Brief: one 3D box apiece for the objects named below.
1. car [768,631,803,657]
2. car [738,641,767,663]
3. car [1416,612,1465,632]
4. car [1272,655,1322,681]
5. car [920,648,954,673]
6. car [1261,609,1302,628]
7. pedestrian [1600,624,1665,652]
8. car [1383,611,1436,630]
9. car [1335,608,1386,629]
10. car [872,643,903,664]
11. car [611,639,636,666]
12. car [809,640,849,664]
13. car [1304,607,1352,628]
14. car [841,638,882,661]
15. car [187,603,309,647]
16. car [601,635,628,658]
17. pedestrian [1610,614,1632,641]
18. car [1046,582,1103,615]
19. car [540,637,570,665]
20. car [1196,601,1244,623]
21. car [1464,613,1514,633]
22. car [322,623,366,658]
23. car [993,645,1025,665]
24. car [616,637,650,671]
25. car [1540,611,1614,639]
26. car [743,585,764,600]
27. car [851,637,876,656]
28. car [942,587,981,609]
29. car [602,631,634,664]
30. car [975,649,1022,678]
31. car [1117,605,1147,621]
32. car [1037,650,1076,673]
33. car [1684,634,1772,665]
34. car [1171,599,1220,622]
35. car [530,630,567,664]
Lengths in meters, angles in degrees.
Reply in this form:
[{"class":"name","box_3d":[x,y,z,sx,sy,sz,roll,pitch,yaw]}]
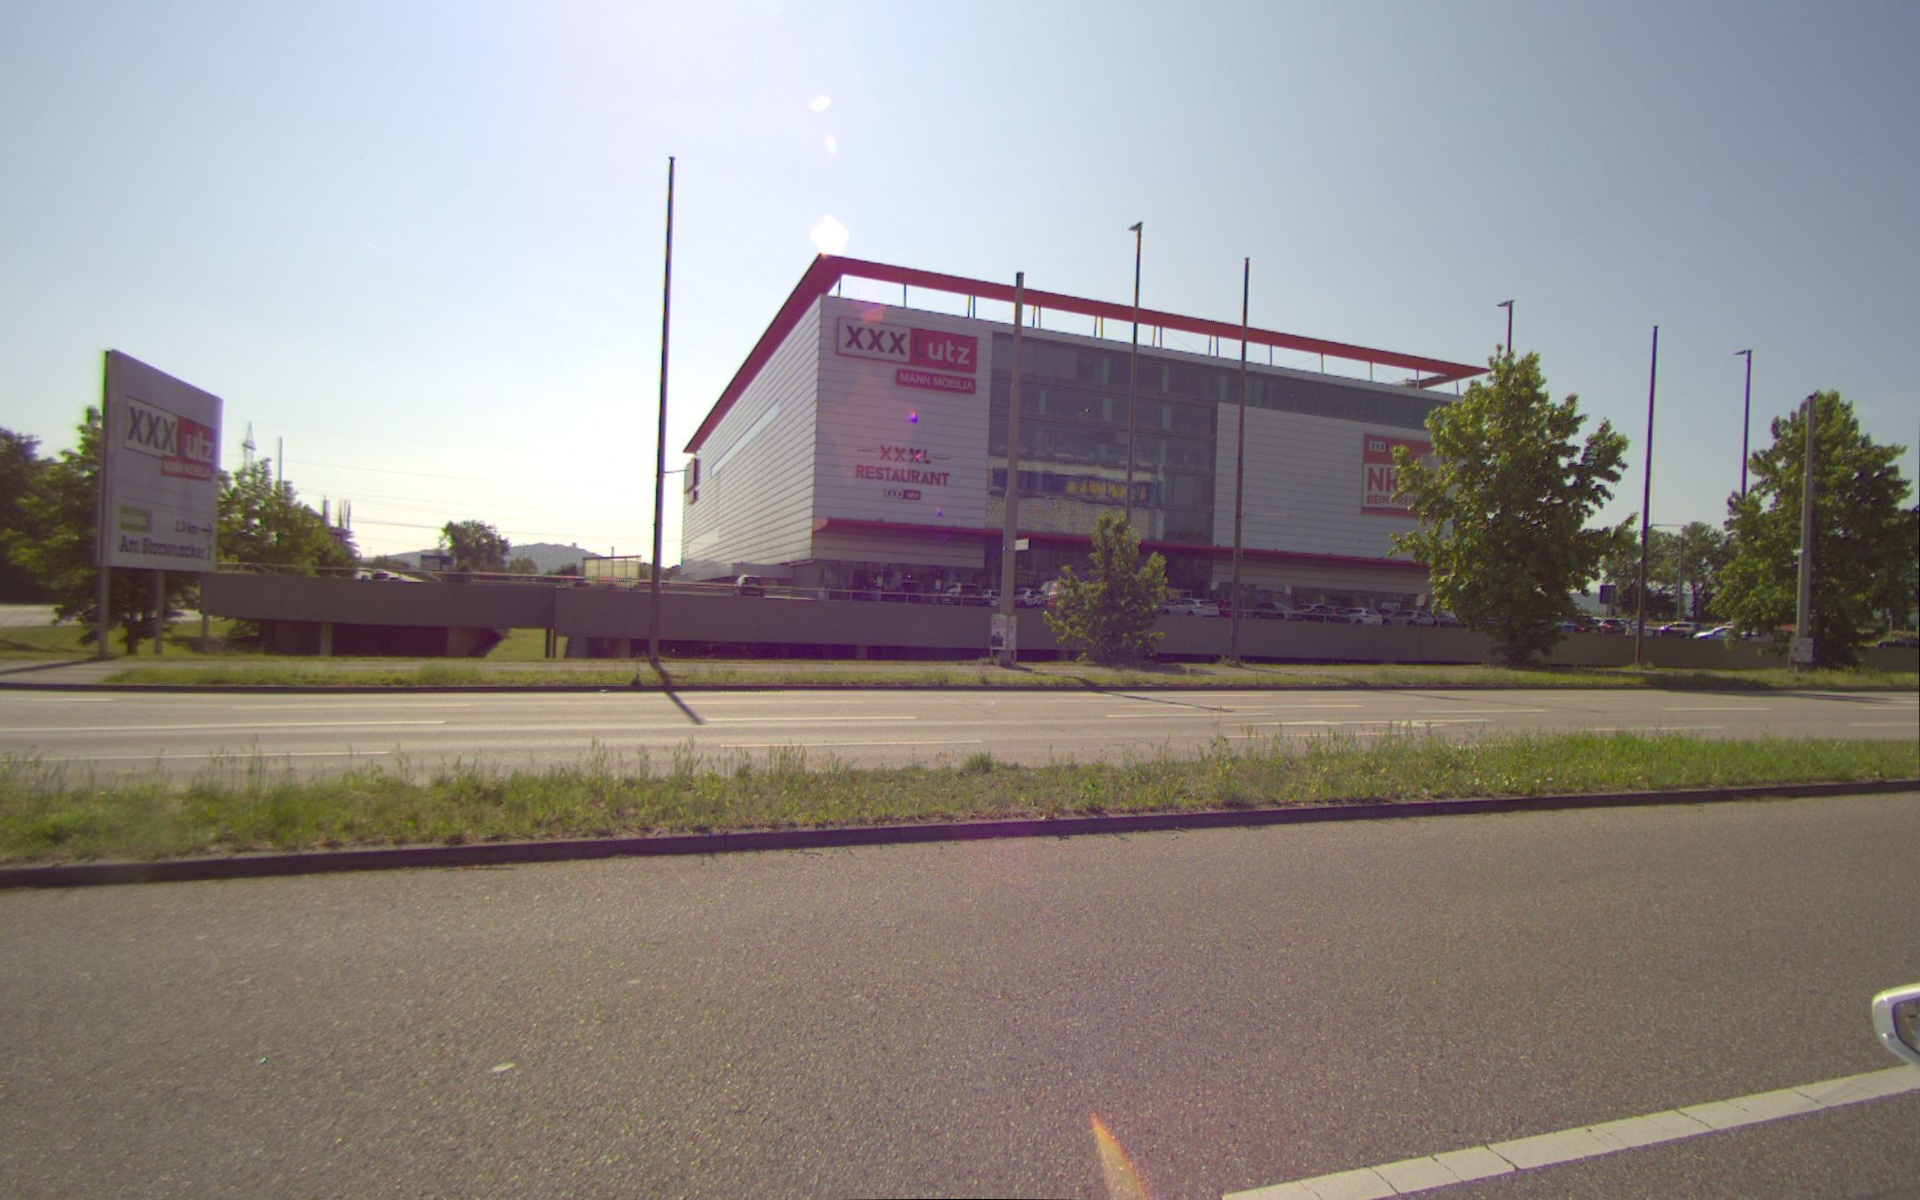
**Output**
[{"class":"car","box_3d":[-7.658,1.912,44.057,1.056,0.988,1.932,3,-1,-24]},{"class":"car","box_3d":[-10.663,2.658,51.487,1.056,0.988,1.932,3,-1,-24]},{"class":"car","box_3d":[35.698,1.606,74.675,1.494,1.347,3.081,3,-1,-22]},{"class":"car","box_3d":[14.936,3.004,44.574,1.056,0.988,1.932,3,-1,-24]},{"class":"car","box_3d":[-1.081,2.823,46.862,0.898,0.988,1.932,3,0,-24]},{"class":"car","box_3d":[24.311,1.382,76.031,1.282,1.347,3.128,3,-1,-22]},{"class":"pedestrian","box_3d":[55.657,3.129,83.141,3.919,2.040,2.001,3,0,9]},{"class":"car","box_3d":[33.021,1.496,73.879,1.459,1.214,3.491,3,-1,-22]},{"class":"car","box_3d":[28.746,1.321,72.126,1.679,1.347,3.081,3,-1,-22]},{"class":"car","box_3d":[-3.942,2.884,54.150,1.056,0.988,1.932,3,-1,-24]},{"class":"car","box_3d":[-13.416,2.084,40.008,0.874,0.988,1.934,1,0,-21]},{"class":"car","box_3d":[-4.816,1.906,36.806,0.894,0.743,2.075,3,-1,-24]},{"class":"car","box_3d":[26.214,1.204,71.609,1.494,1.347,3.081,3,-1,-22]},{"class":"car","box_3d":[-3.161,1.585,32.204,0.846,0.629,1.555,3,-1,-24]},{"class":"car","box_3d":[-31.682,1.121,44.830,3.940,1.757,1.991,3,0,-20]},{"class":"car","box_3d":[-16.929,2.278,49.172,1.056,1.053,1.932,2,-1,-24]},{"class":"pedestrian","box_3d":[49.663,2.051,75.478,1.003,2.040,0.863,1,-1,-7]},{"class":"car","box_3d":[5.795,-0.060,51.099,1.748,1.577,2.761,1,0,-22]},{"class":"car","box_3d":[-15.824,1.972,39.226,1.056,0.988,1.933,2,-1,-22]},{"class":"car","box_3d":[17.681,0.788,68.391,1.494,1.347,3.207,3,-1,-22]},{"class":"car","box_3d":[40.235,1.742,76.483,1.494,1.311,3.081,3,-1,-22]},{"class":"car","box_3d":[-19.080,1.236,31.157,0.877,0.988,1.932,0,1,-24]},{"class":"car","box_3d":[2.764,3.087,56.927,1.056,0.988,1.932,3,-1,-24]},{"class":"car","box_3d":[-9.652,1.587,29.657,0.781,0.894,1.497,3,0,-24]},{"class":"car","box_3d":[26.478,1.048,43.166,1.056,1.073,2.506,3,-1,-24]},{"class":"car","box_3d":[-14.585,-0.564,70.812,1.056,0.988,1.932,3,-1,-24]},{"class":"car","box_3d":[-5.797,2.779,60.257,0.947,0.988,1.932,3,-1,-24]},{"class":"car","box_3d":[0.067,-0.138,66.257,1.494,1.347,3.005,3,-1,-22]},{"class":"car","box_3d":[-11.624,1.607,34.107,0.854,0.988,1.837,3,0,-24]},{"class":"car","box_3d":[1.505,2.480,39.302,1.056,0.988,1.932,3,-1,-24]},{"class":"car","box_3d":[11.005,0.821,64.320,1.056,0.988,1.932,2,0,-24]},{"class":"car","box_3d":[4.699,3.016,49.210,1.056,0.988,1.932,3,-1,-24]},{"class":"car","box_3d":[55.172,3.513,72.263,2.002,2.040,4.657,1,-1,-24]},{"class":"car","box_3d":[15.543,0.689,66.421,1.494,1.347,3.207,3,-1,-22]},{"class":"car","box_3d":[-13.658,1.550,33.395,1.055,1.021,1.934,2,-1,-21]}]
